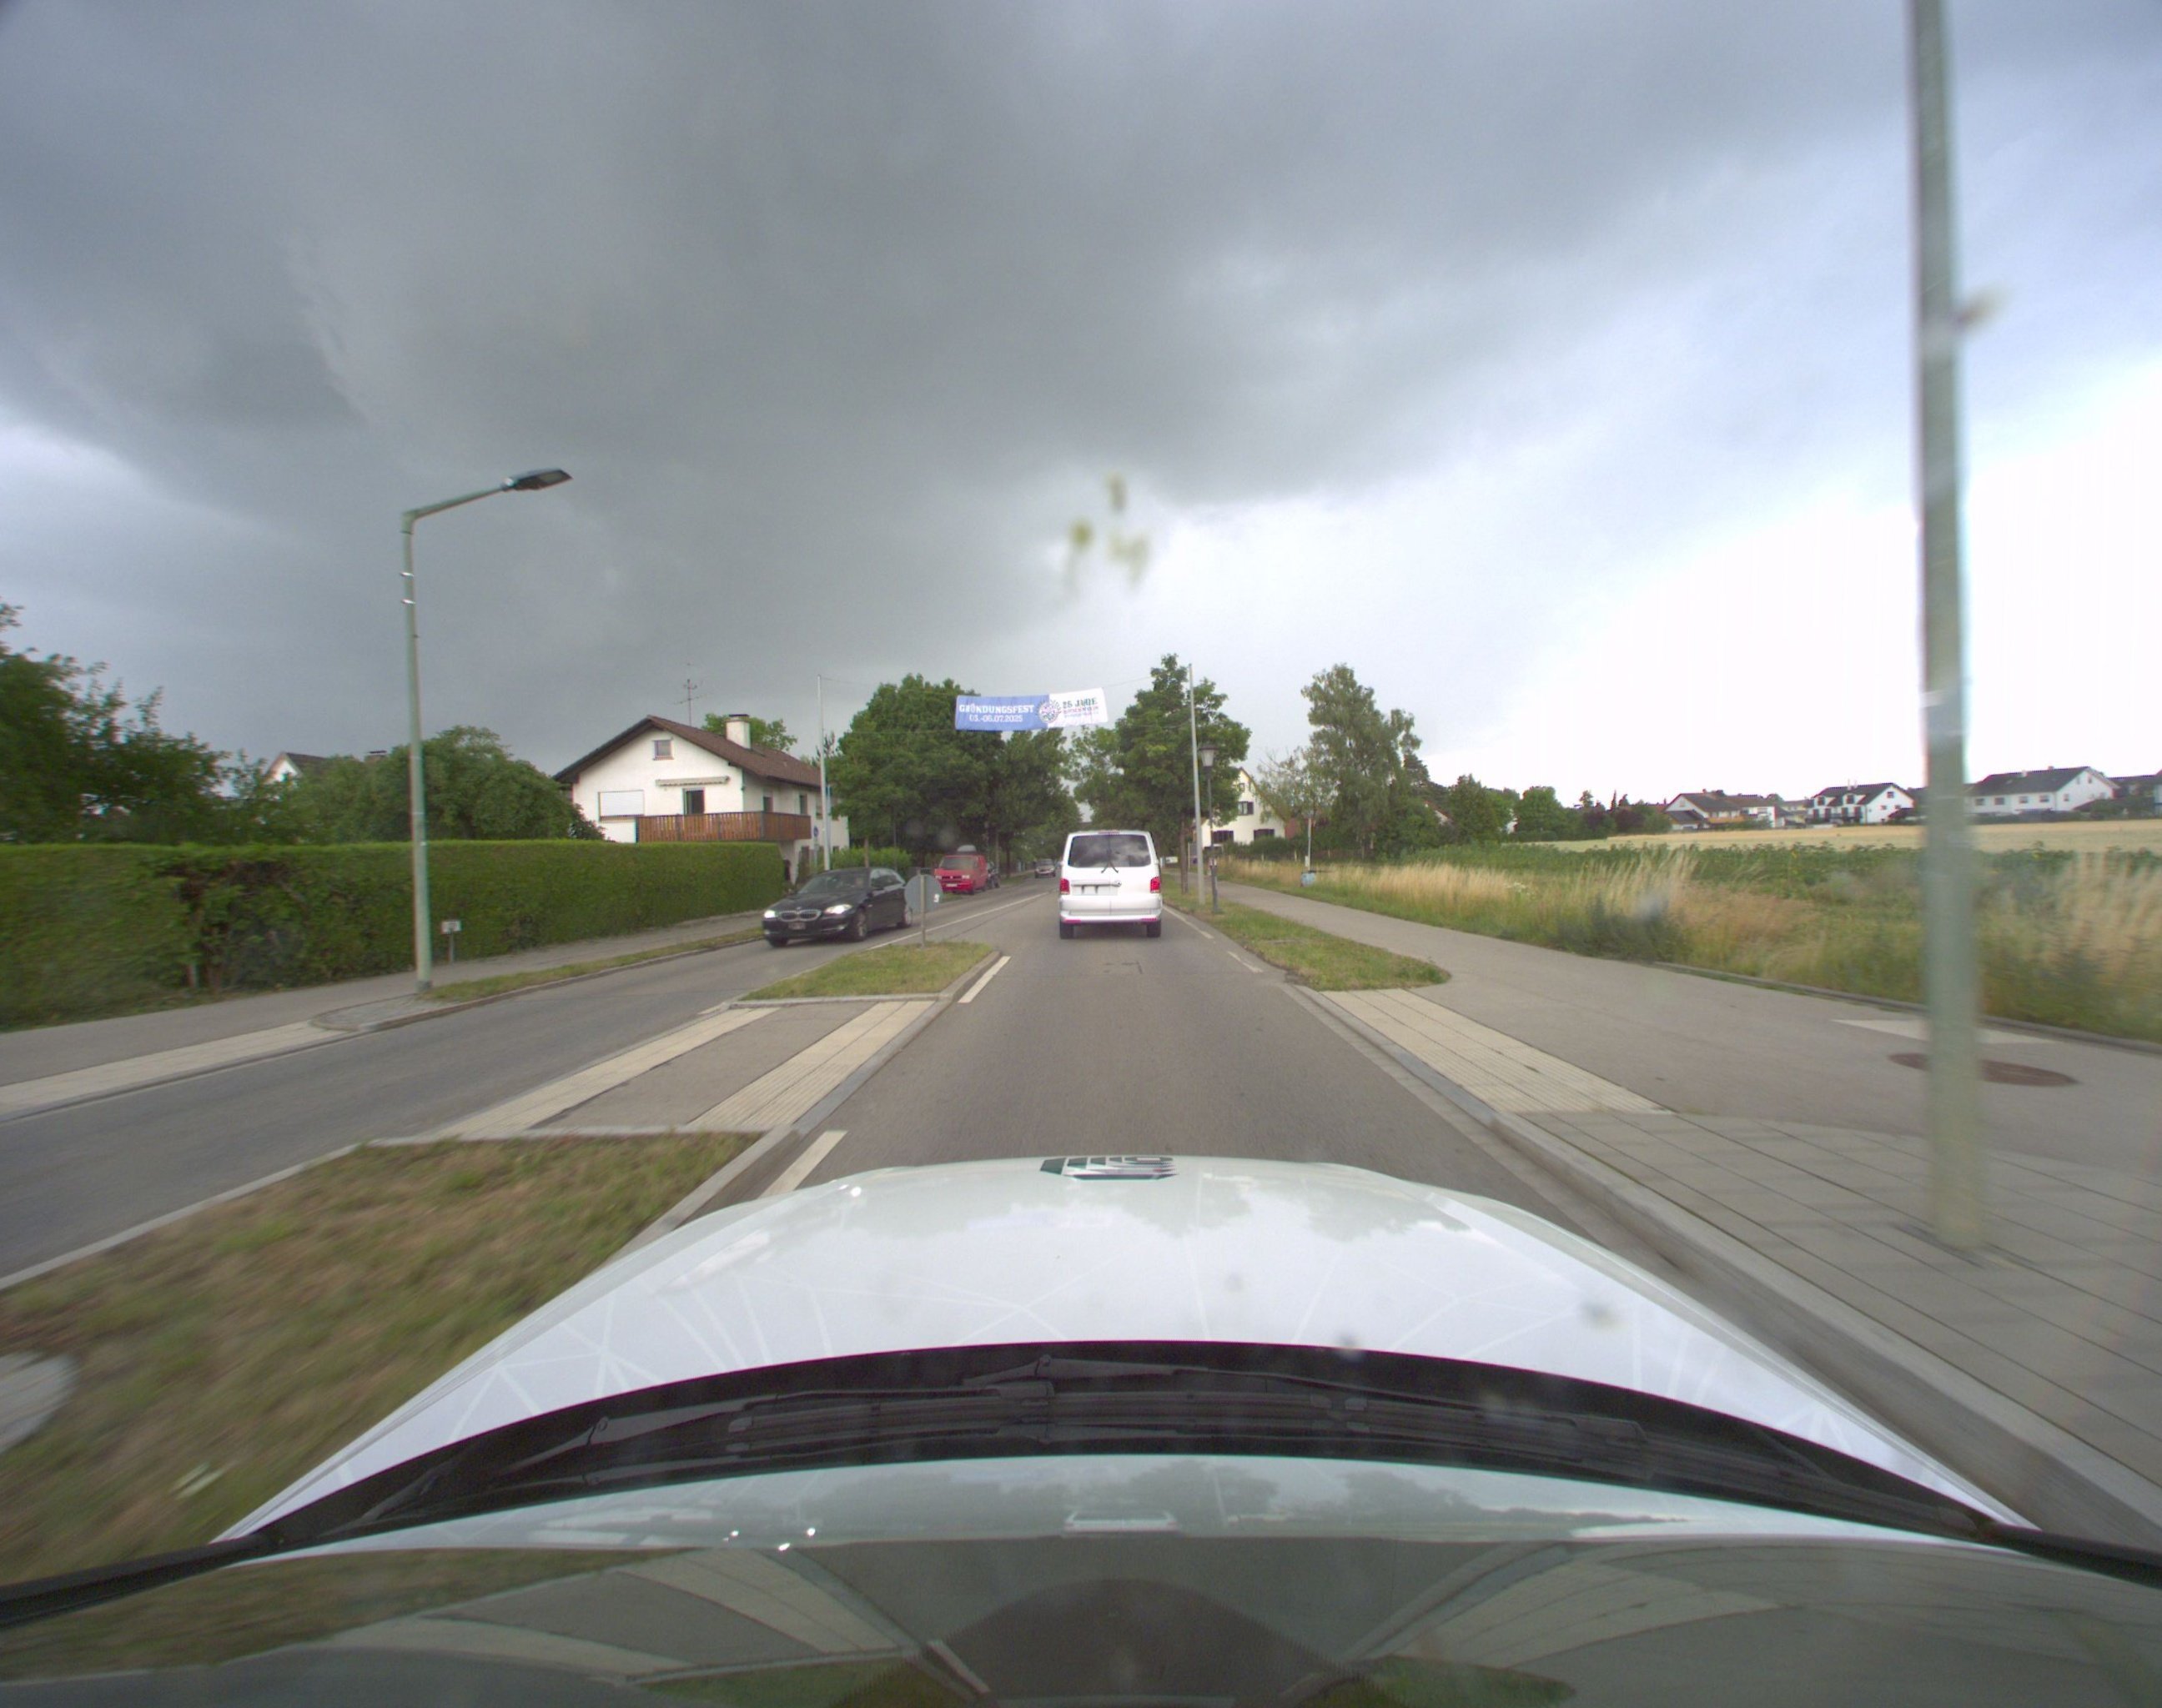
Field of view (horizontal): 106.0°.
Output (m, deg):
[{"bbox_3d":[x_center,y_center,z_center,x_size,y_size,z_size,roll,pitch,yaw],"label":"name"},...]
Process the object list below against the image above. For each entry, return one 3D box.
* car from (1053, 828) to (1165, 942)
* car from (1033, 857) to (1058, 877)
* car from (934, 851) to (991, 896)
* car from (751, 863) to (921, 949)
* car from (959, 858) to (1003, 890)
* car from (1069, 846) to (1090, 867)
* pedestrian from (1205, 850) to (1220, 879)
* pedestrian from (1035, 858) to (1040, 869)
[{"bbox_3d":[0.518,0.549,16.065,1.881,1.912,4.000,-1,-1,1],"label":"car"},{"bbox_3d":[-3.094,1.107,71.787,1.699,1.532,3.512,-4,0,4],"label":"car"},{"bbox_3d":[-5.686,0.866,39.526,1.823,2.030,5.048,-1,0,2],"label":"car"},{"bbox_3d":[-5.026,1.005,17.488,1.911,1.453,4.502,-2,0,5],"label":"car"},{"bbox_3d":[-5.514,1.061,45.422,1.765,1.598,4.239,-1,0,2],"label":"car"},{"bbox_3d":[-0.116,0.274,80.702,1.986,2.014,4.001,-1,-1,1],"label":"car"},{"bbox_3d":[7.994,0.638,49.502,0.833,1.755,0.871,-2,-1,6],"label":"pedestrian"},{"bbox_3d":[-6.018,1.332,111.842,0.621,1.549,0.522,0,-1,-3],"label":"pedestrian"}]
